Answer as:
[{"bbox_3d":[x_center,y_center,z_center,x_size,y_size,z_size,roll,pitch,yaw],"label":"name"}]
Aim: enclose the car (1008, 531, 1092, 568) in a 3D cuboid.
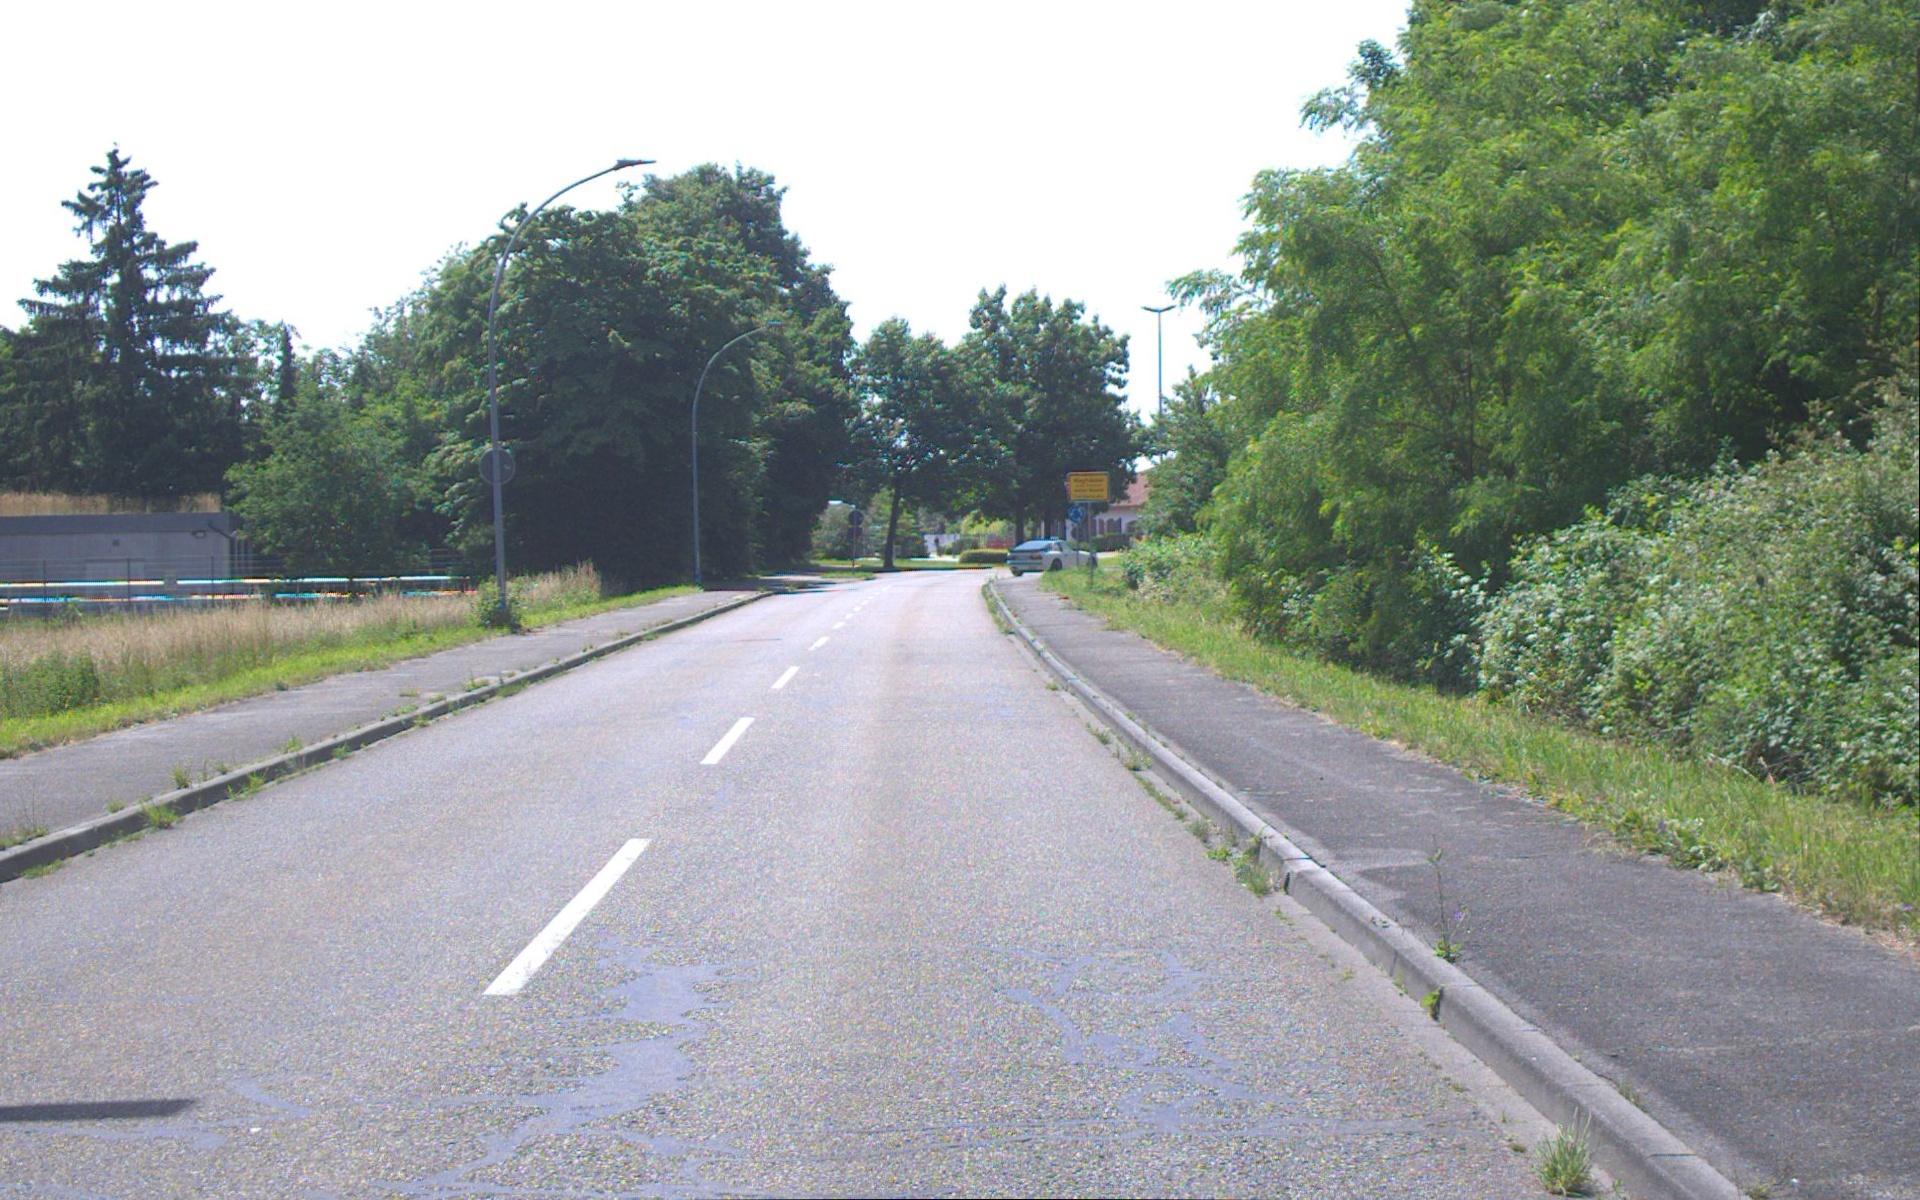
[{"bbox_3d":[3.186,-1.783,121.340,1.616,1.284,3.552,0,1,26],"label":"car"}]
